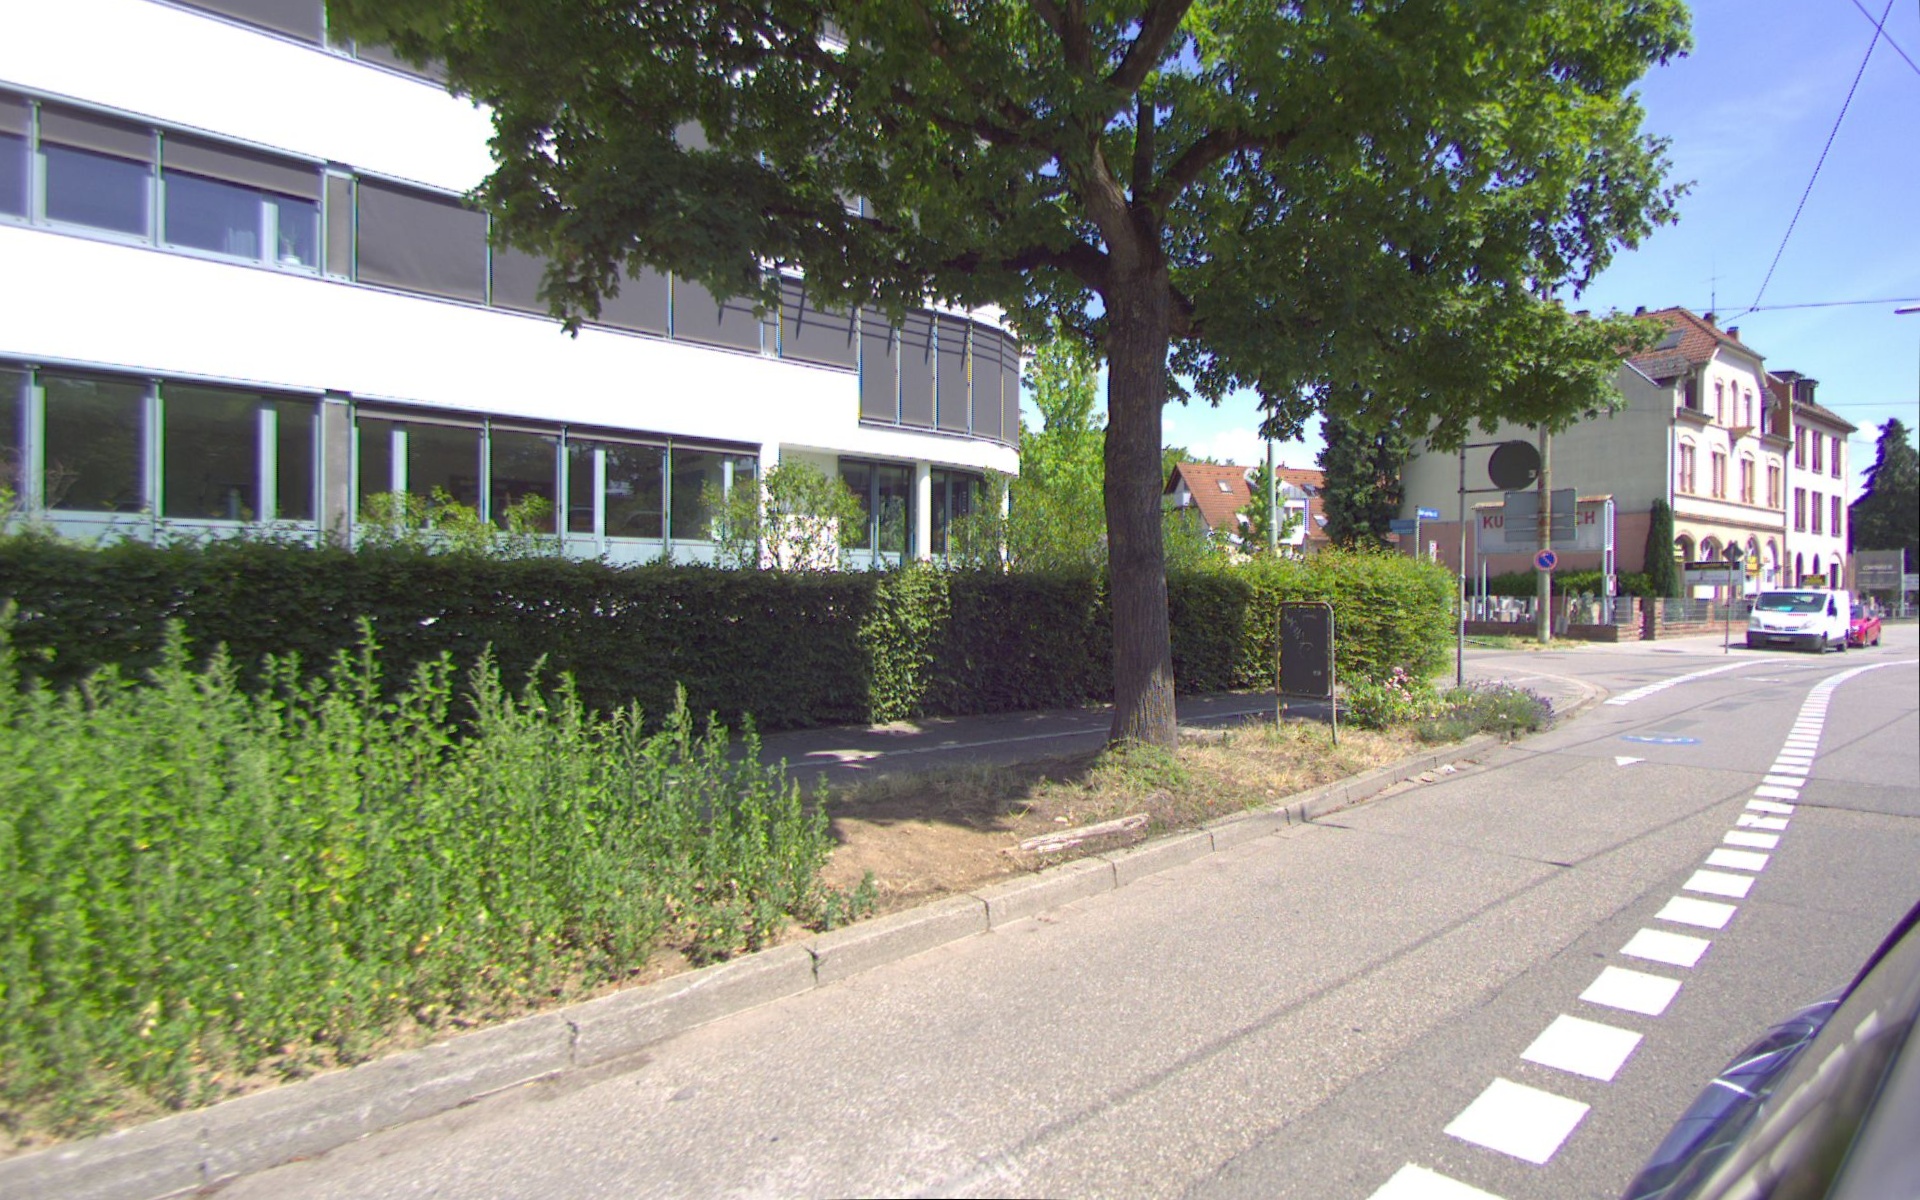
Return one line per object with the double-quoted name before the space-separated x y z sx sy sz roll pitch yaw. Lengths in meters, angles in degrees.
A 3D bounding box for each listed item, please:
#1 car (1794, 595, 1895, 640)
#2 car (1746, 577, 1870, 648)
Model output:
"car" 30.941 0.595 35.388 3.944 1.460 1.998 0 -1 -39
"car" 26.522 0.348 31.585 5.416 2.016 1.998 0 2 -40
